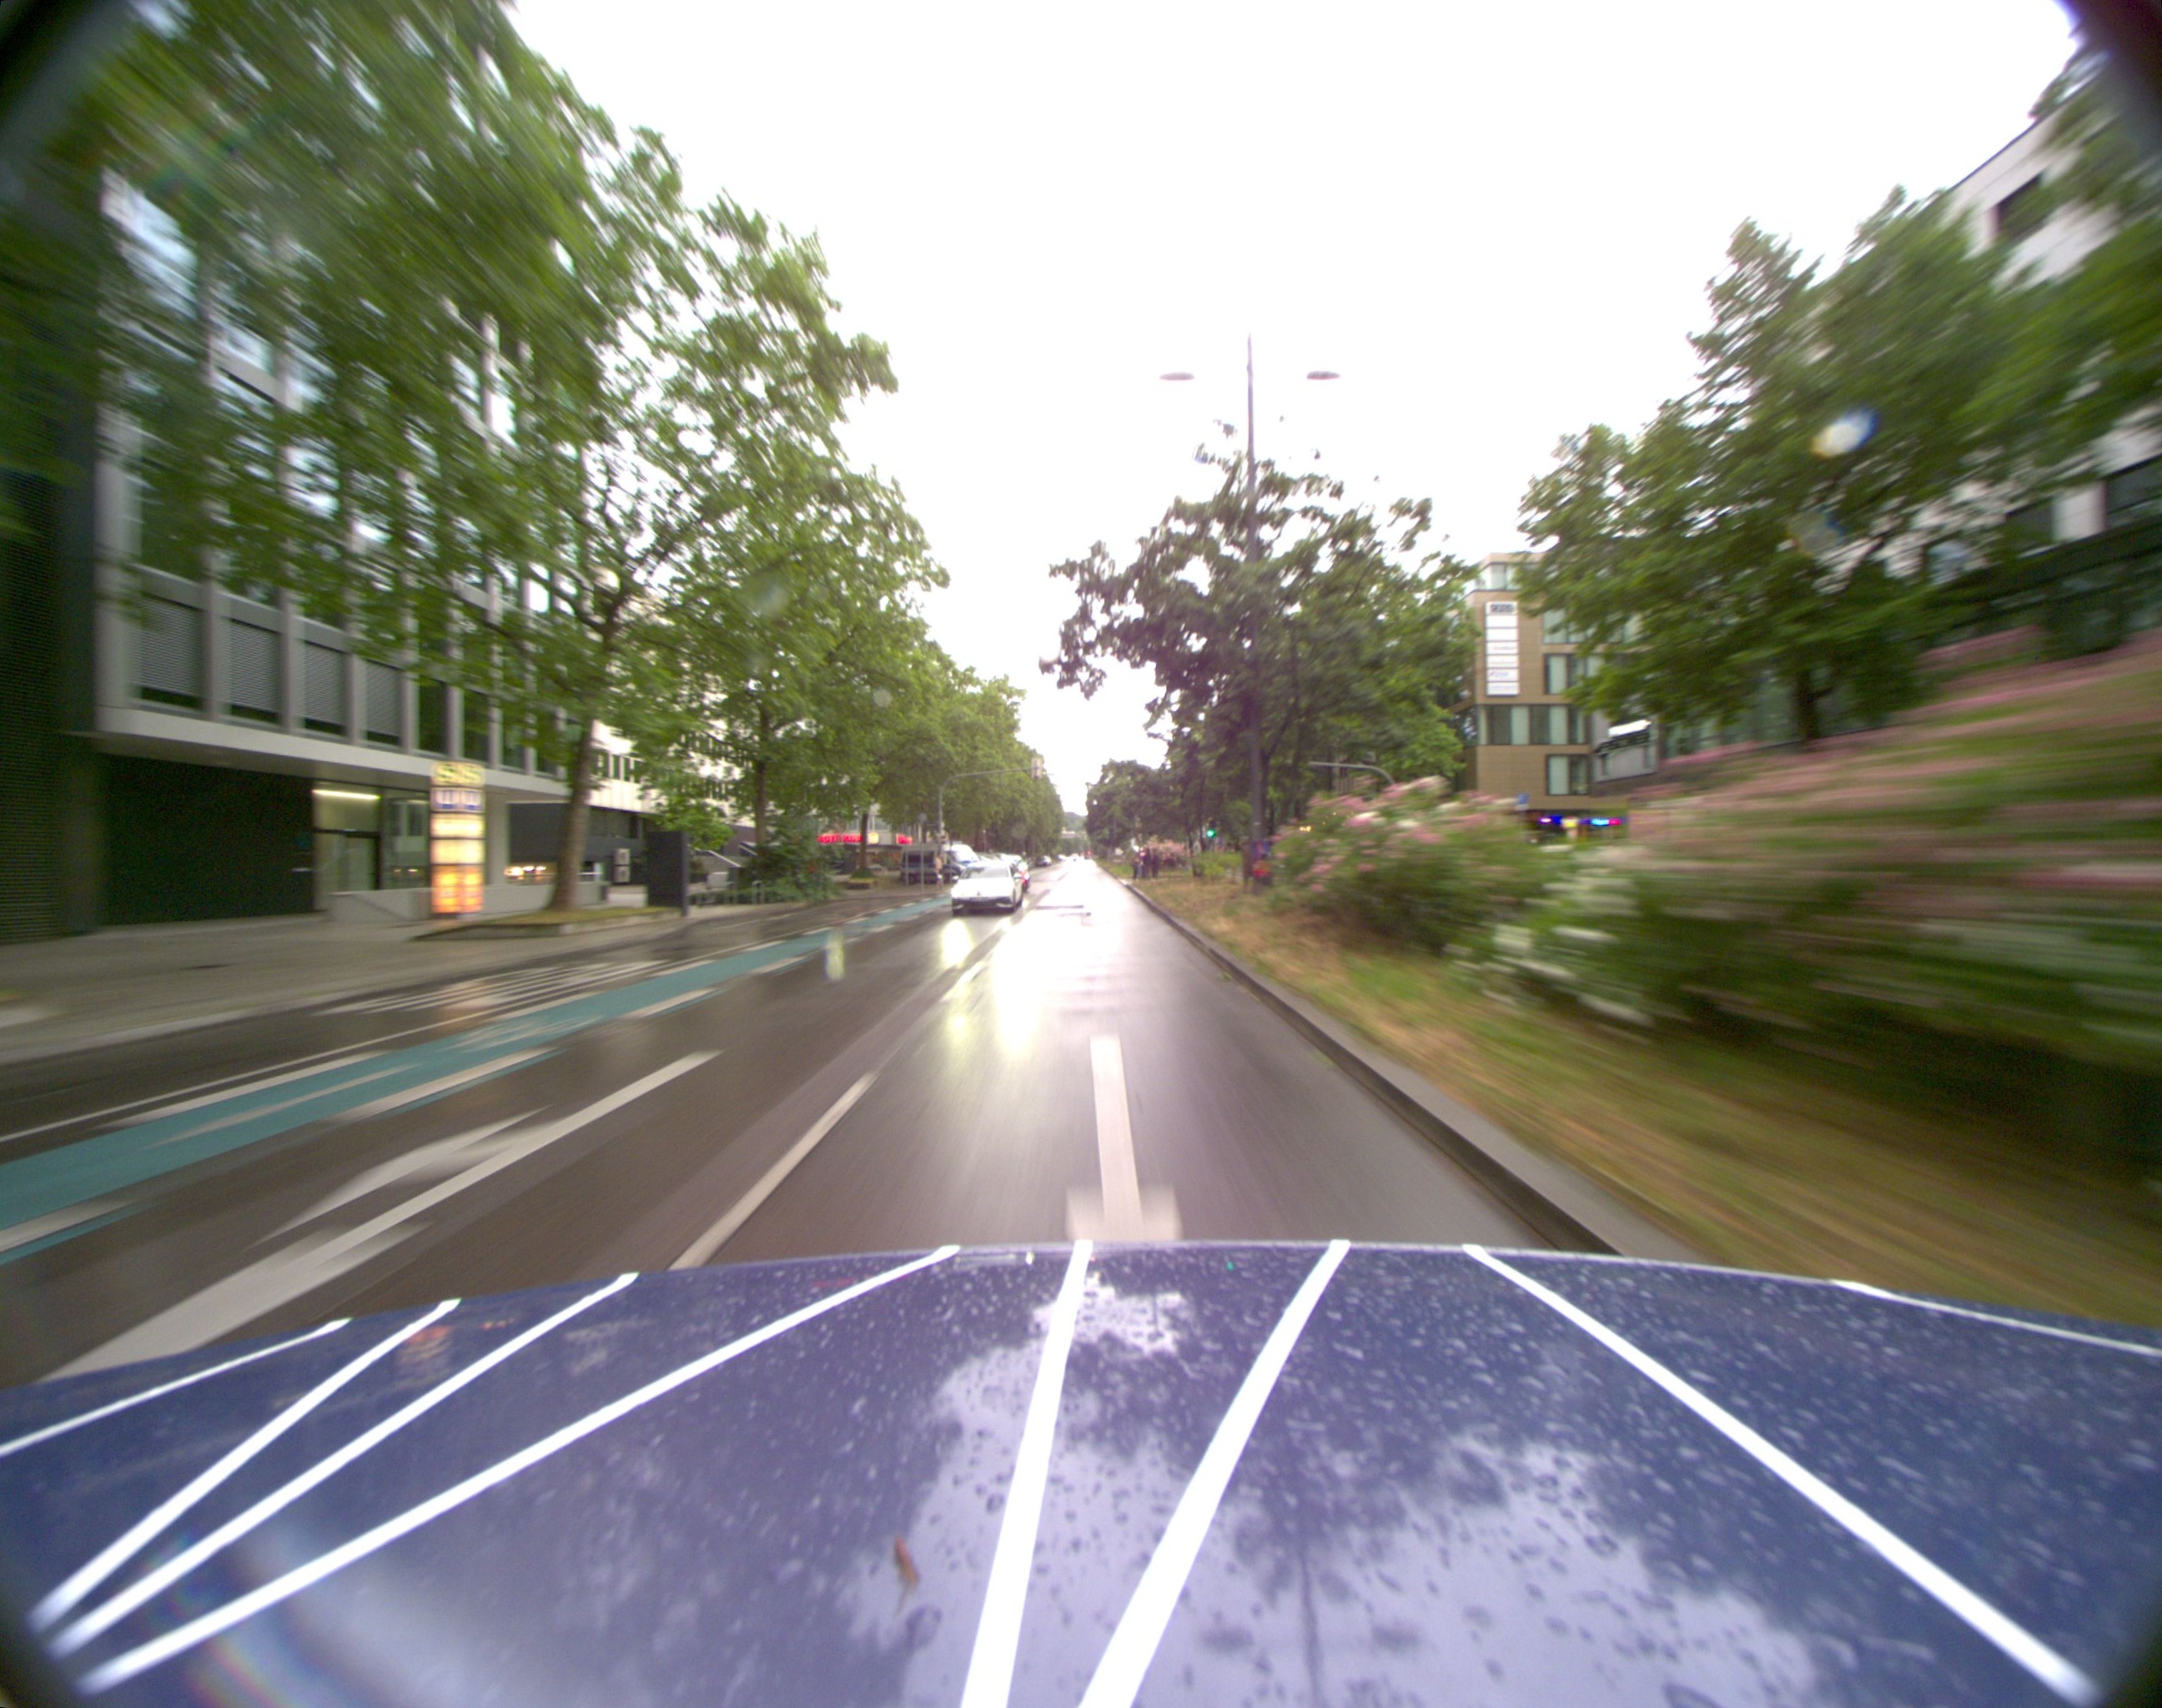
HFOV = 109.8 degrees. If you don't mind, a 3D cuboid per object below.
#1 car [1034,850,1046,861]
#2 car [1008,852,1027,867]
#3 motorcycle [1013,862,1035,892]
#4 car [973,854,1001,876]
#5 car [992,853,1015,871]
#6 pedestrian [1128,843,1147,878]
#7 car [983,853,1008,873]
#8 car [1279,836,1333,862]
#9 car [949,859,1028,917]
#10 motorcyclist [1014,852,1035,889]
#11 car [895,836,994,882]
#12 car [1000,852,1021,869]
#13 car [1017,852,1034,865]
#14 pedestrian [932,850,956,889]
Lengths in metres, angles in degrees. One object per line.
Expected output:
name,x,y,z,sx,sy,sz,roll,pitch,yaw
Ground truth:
car,-6.079,0.197,113.075,1.598,1.517,3.425,-2,0,0
car,-6.692,0.524,80.484,1.598,1.517,3.425,-2,0,0
motorcycle,-2.479,0.997,33.501,0.744,1.194,2.235,-2,1,1
car,-7.075,0.792,57.362,1.598,1.517,3.425,-2,0,1
car,-6.778,0.708,66.728,1.598,1.506,3.425,-2,0,0
pedestrian,3.048,0.326,41.012,0.892,1.839,0.787,-2,2,-3
car,-6.888,0.711,61.437,1.598,1.517,3.425,-2,0,0
car,18.950,-0.418,64.140,3.998,2.002,1.887,-2,1,-2
car,-2.676,0.946,22.823,1.795,1.463,3.793,-2,0,1
motorcyclist,-2.490,0.714,33.557,0.744,1.575,1.059,-2,1,1
car,-8.589,0.347,47.551,6.267,2.665,2.326,-1,2,36
car,-6.553,0.609,71.204,1.598,1.517,3.425,-2,0,0
car,-6.385,0.511,88.093,1.598,1.517,3.425,-2,0,0
pedestrian,-6.611,0.757,36.659,0.891,1.839,0.721,-2,2,8
